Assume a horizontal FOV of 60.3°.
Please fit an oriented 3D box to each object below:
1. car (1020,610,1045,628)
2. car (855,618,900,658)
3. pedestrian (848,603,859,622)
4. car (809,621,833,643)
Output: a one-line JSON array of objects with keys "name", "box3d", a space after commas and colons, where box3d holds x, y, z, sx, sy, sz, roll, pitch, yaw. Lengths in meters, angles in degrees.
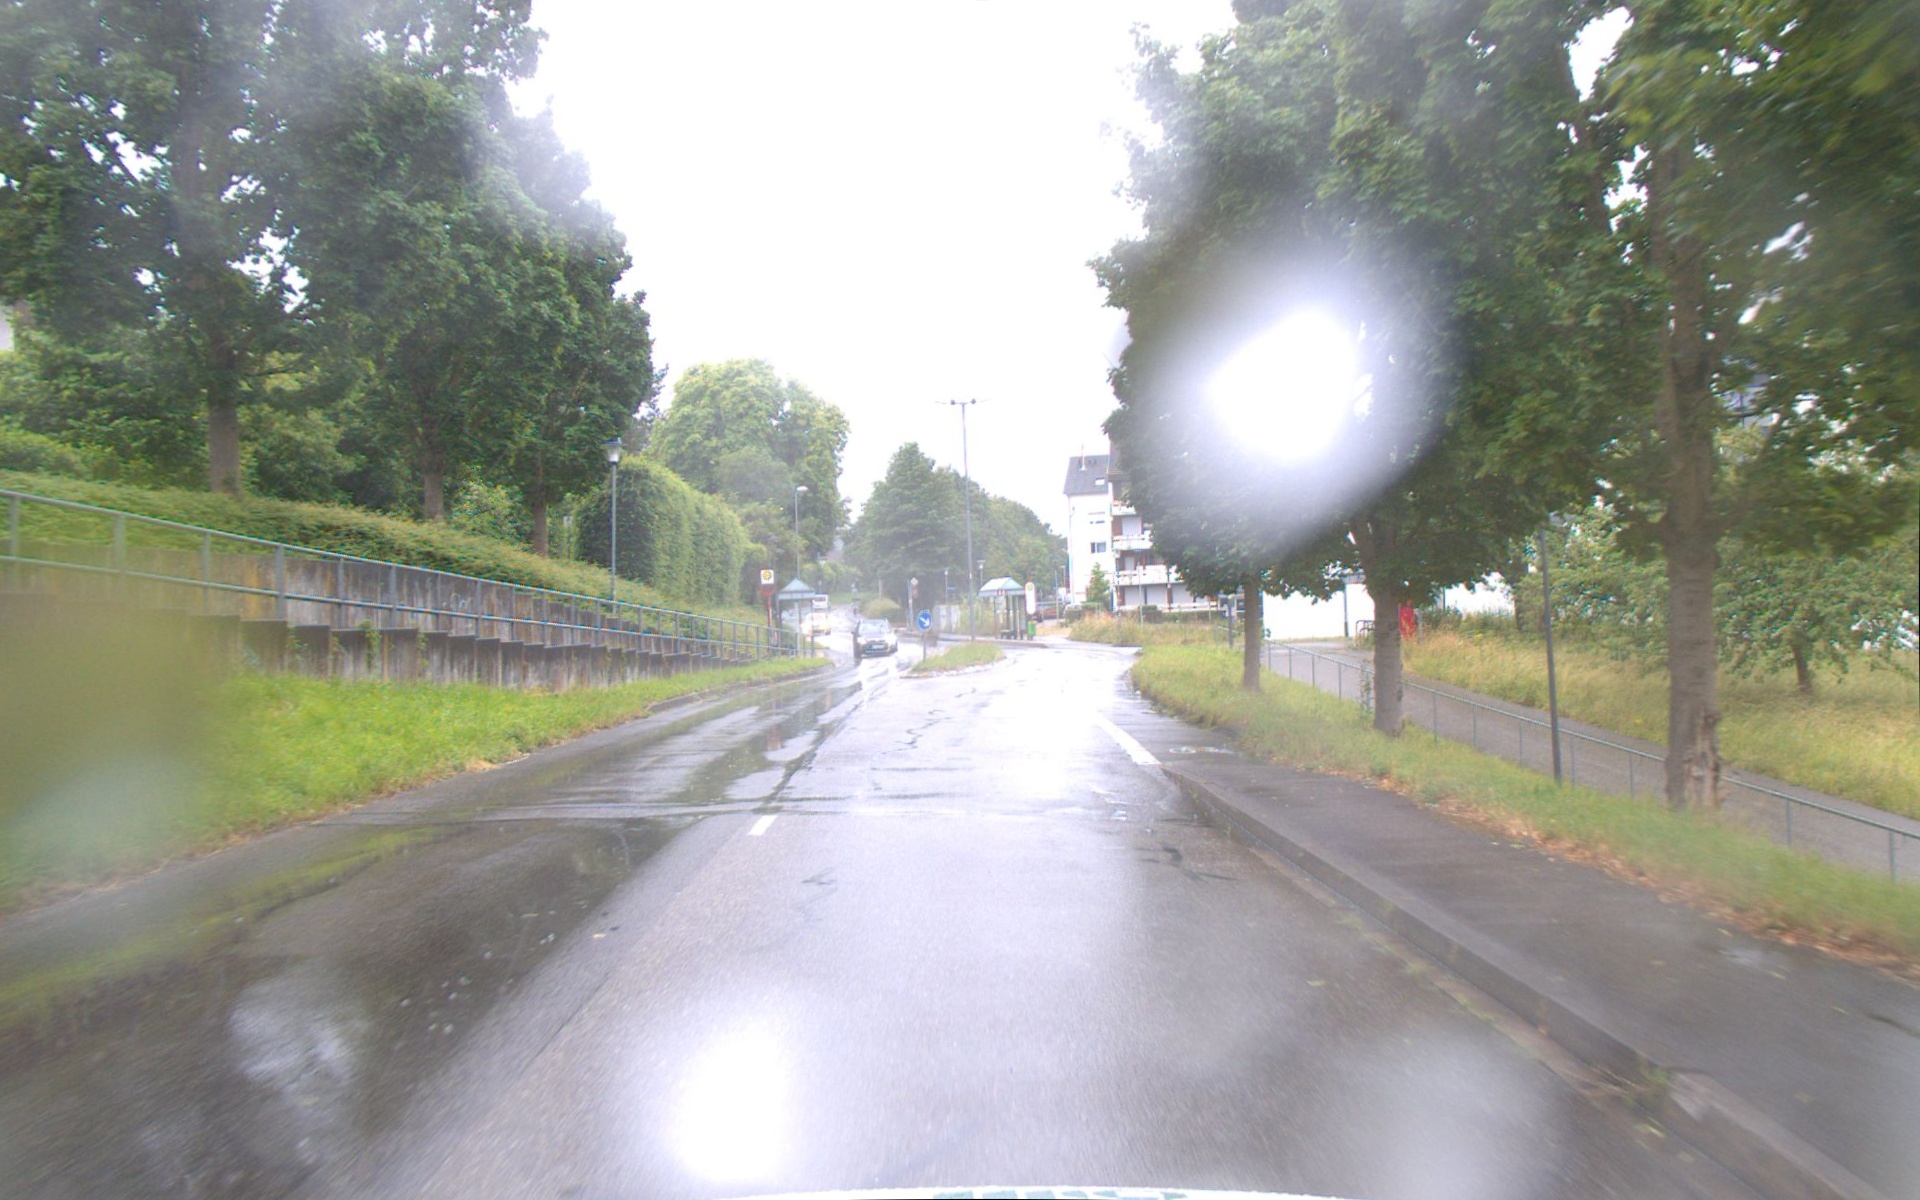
[{"name": "car", "box3d": [6.556, 1.733, 149.506, 1.656, 1.463, 3.606, -2, 1, -8]}, {"name": "car", "box3d": [-3.407, 1.563, 68.638, 1.725, 1.529, 4.139, -3, -1, -2]}, {"name": "pedestrian", "box3d": [-9.913, 1.188, 153.543, 0.903, 1.704, 1.055, -3, 1, -8]}, {"name": "car", "box3d": [-9.689, 2.218, 115.447, 1.542, 1.435, 3.470, -4, 0, -6]}]
